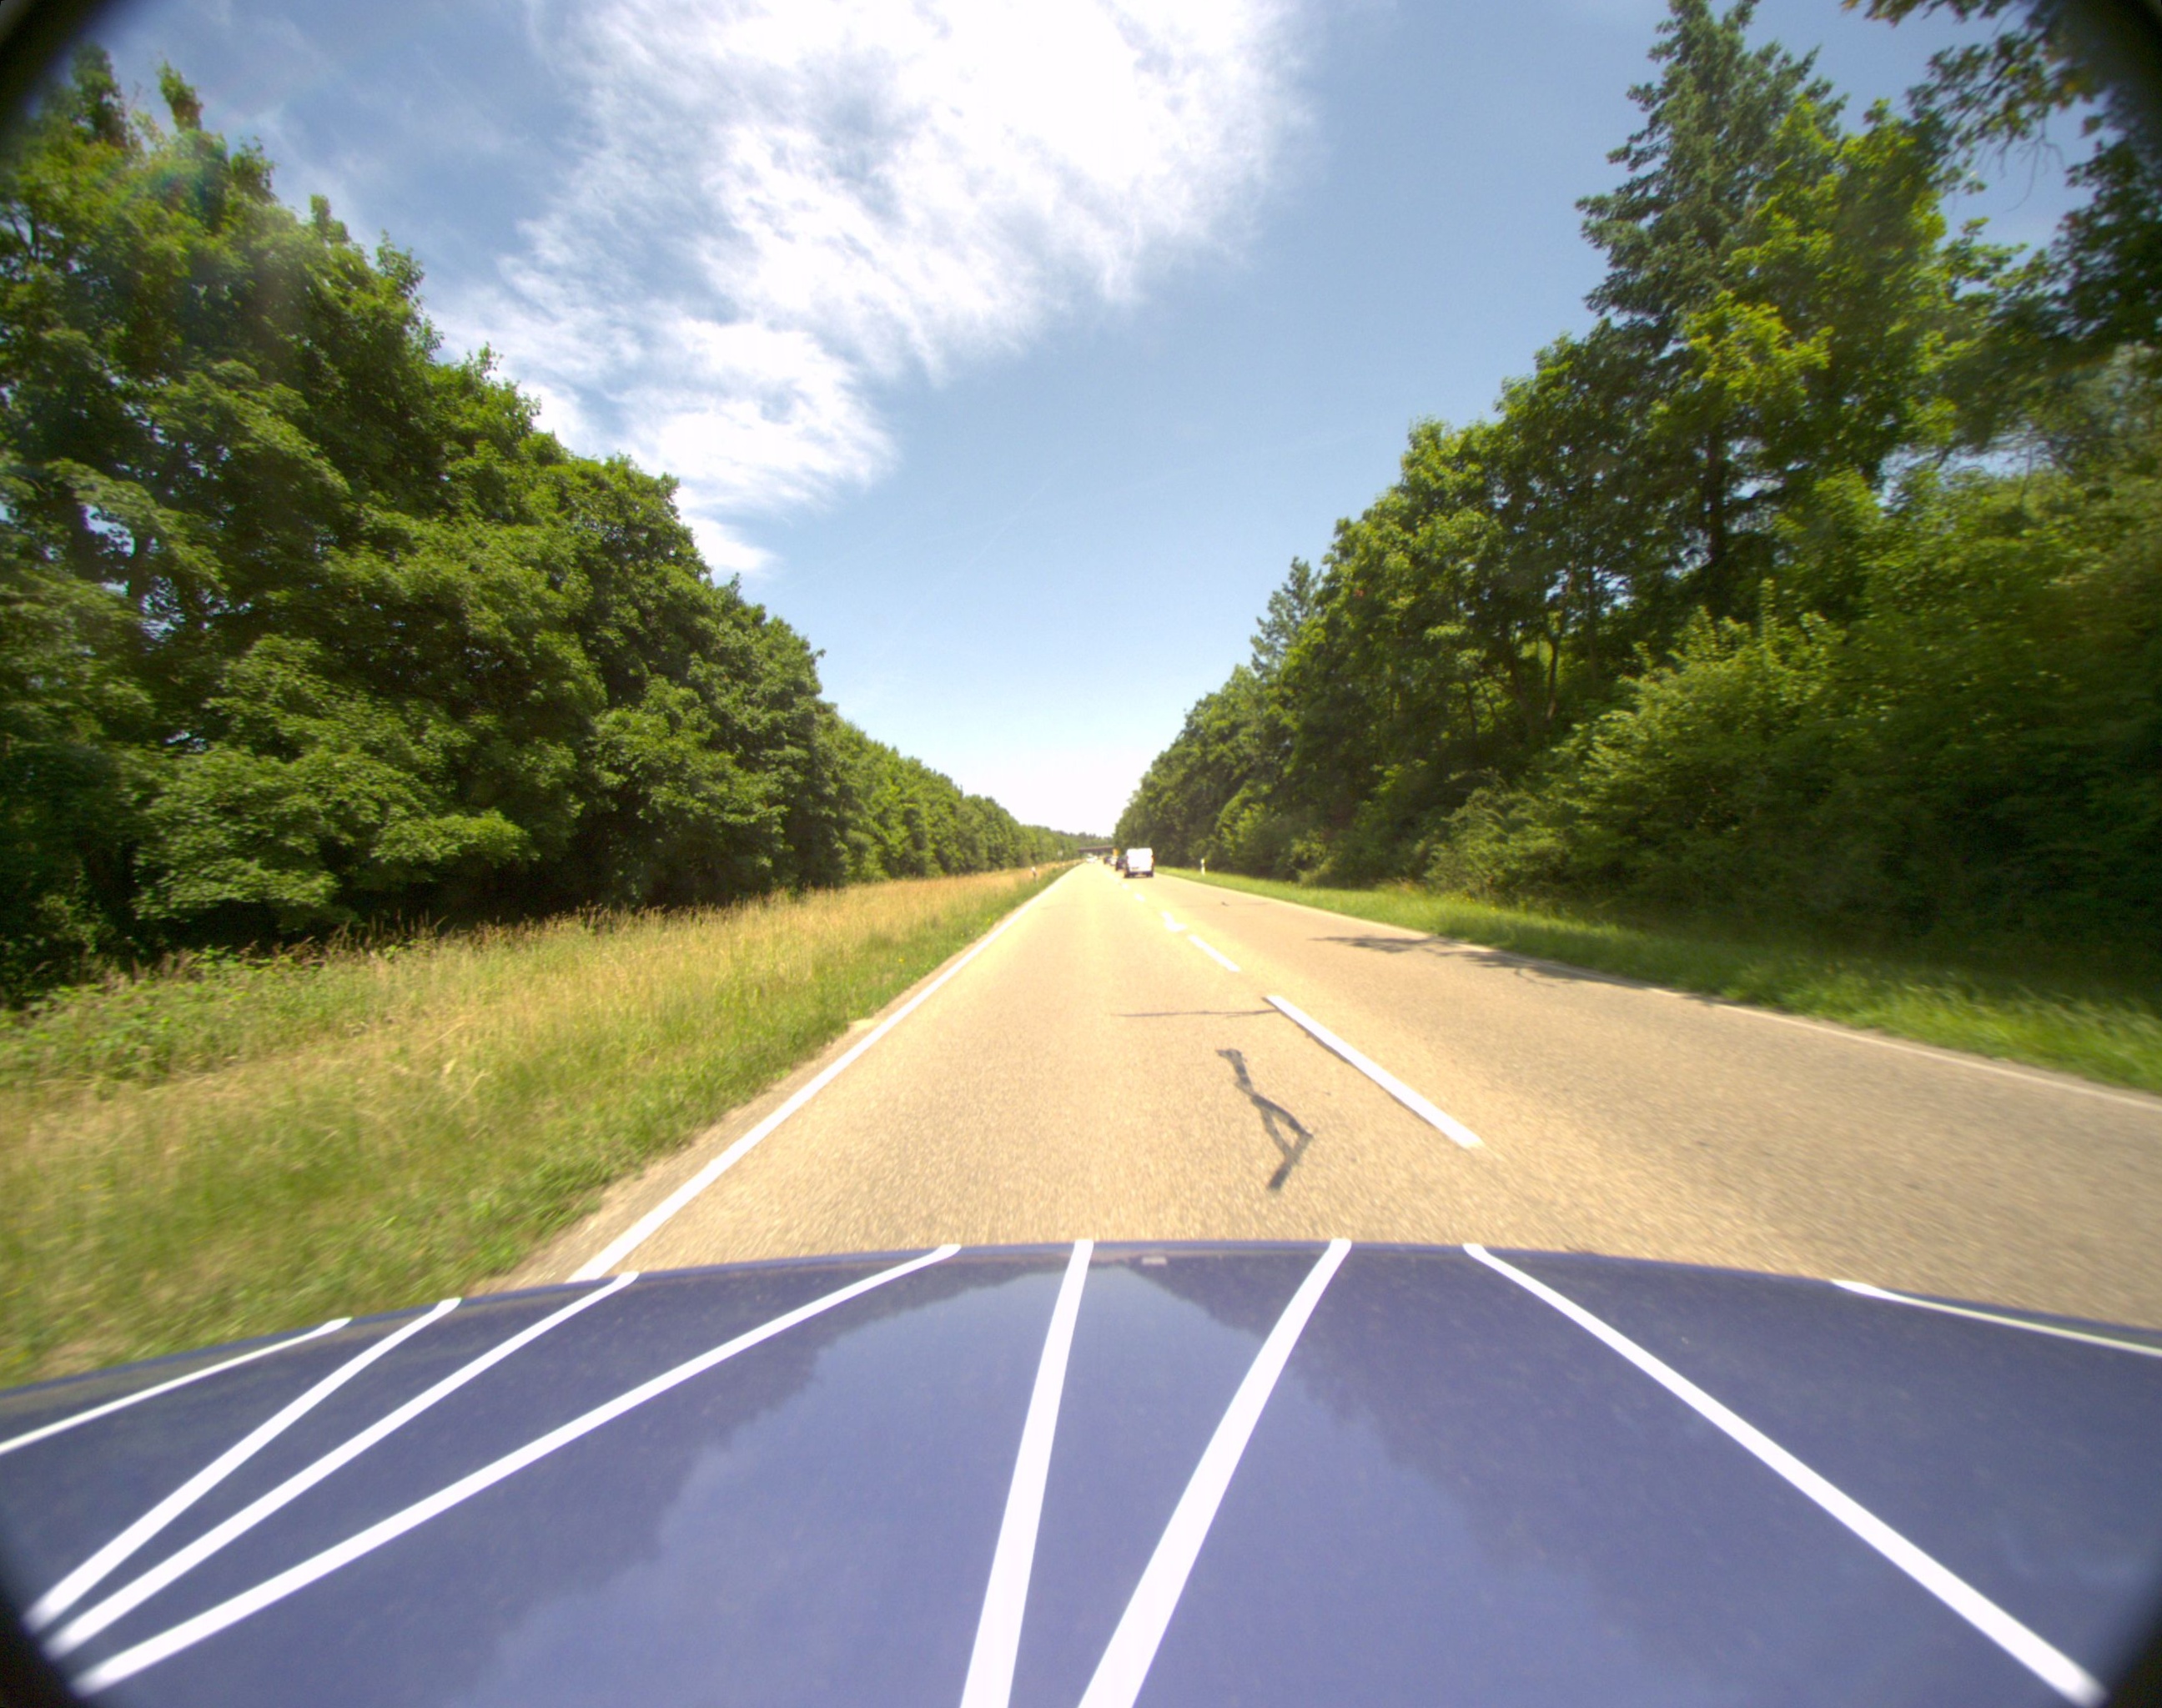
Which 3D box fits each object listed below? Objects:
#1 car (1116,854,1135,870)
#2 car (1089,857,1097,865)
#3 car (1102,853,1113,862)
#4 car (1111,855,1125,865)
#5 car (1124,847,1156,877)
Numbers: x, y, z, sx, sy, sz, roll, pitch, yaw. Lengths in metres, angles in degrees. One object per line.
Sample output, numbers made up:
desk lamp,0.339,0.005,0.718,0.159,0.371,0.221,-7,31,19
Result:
car,4.539,0.790,77.993,1.676,1.510,3.999,-2,0,0
car,3.026,1.663,187.034,1.865,1.747,3.999,-3,0,0
car,4.907,0.630,143.467,1.870,1.615,4.200,-2,0,0
car,5.764,0.936,119.266,1.844,1.527,4.658,-2,0,0
car,4.080,0.556,53.165,1.880,1.917,4.987,-2,0,1
